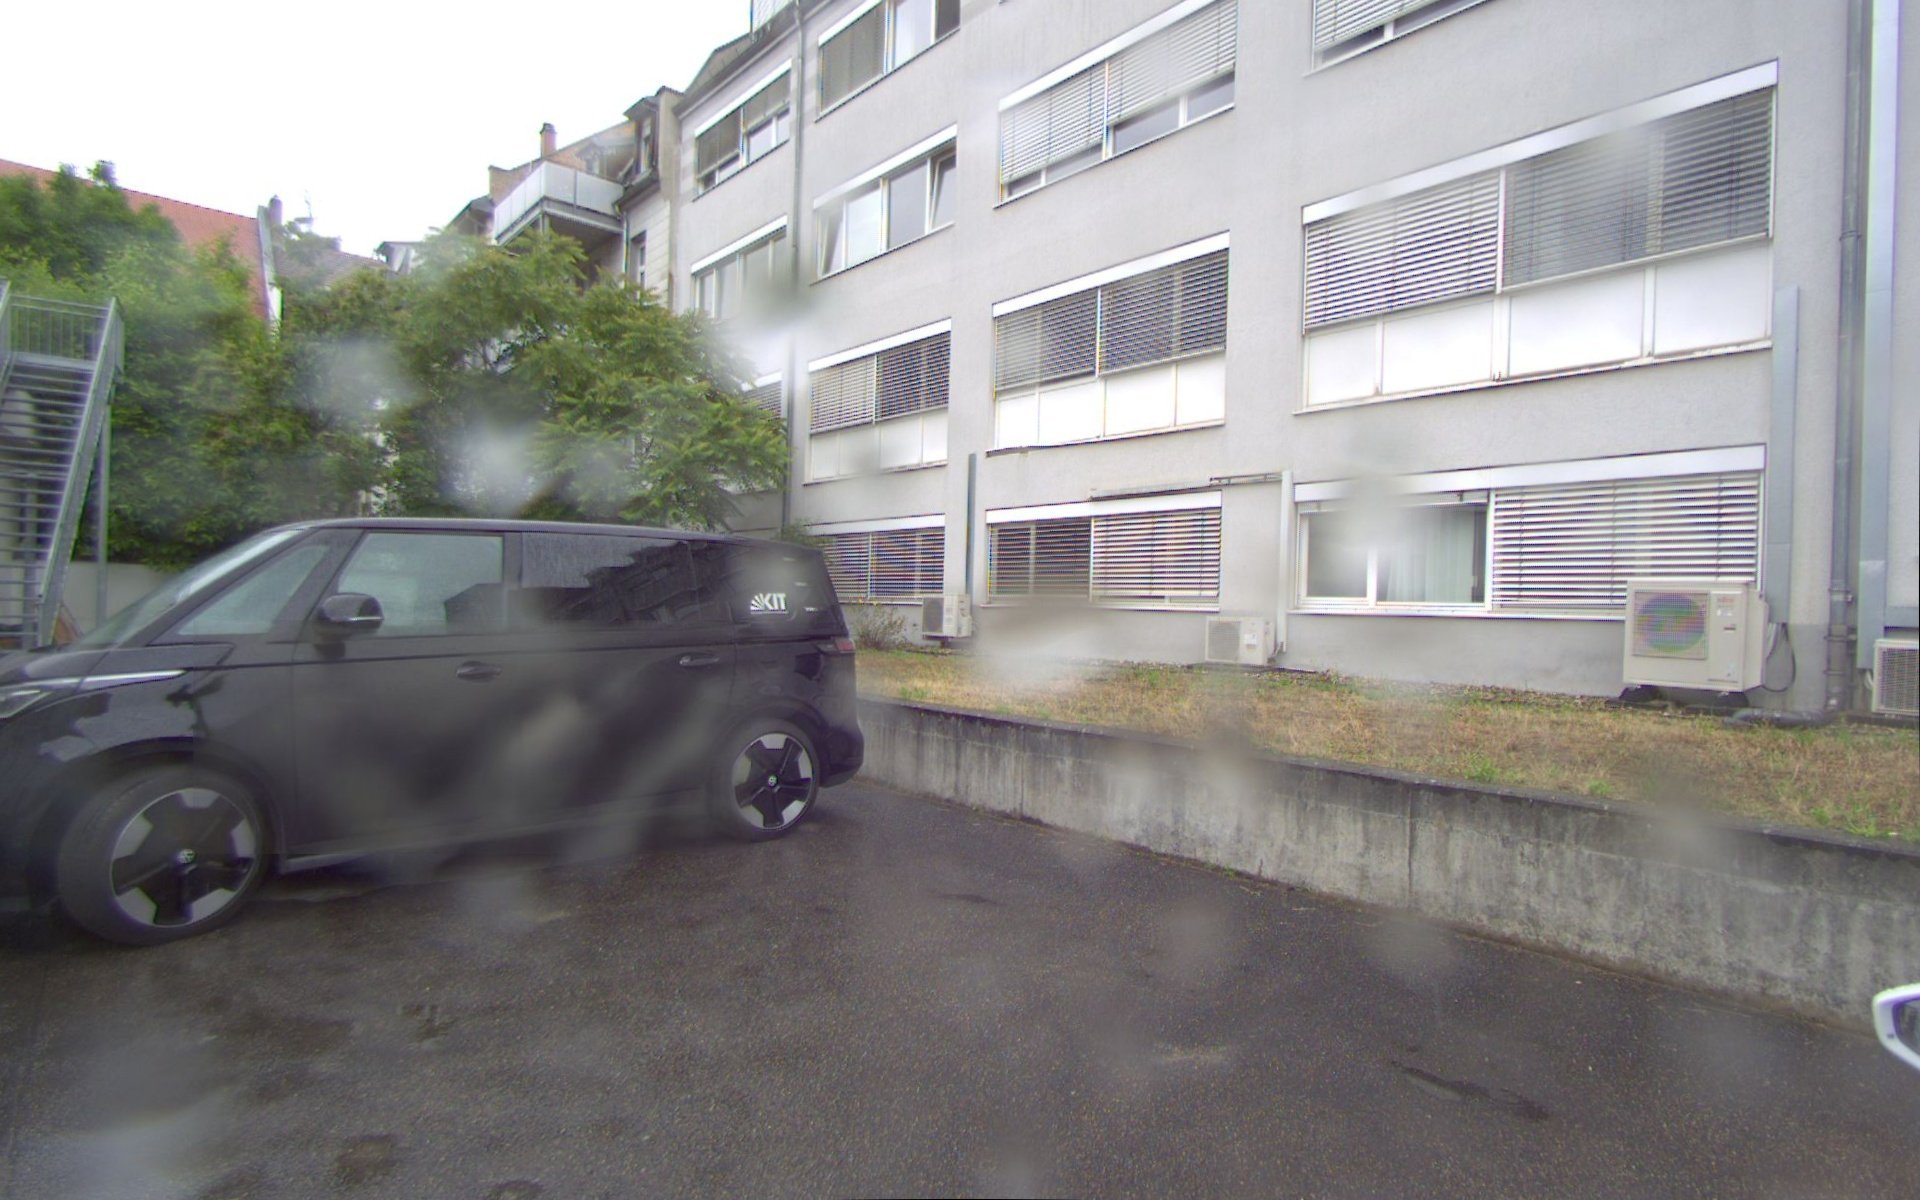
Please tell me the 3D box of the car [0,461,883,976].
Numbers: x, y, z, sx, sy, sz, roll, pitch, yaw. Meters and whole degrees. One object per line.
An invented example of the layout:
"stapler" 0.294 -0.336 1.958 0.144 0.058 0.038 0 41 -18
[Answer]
"car" -2.832 0.497 5.862 4.491 1.922 2.020 2 -1 -43
